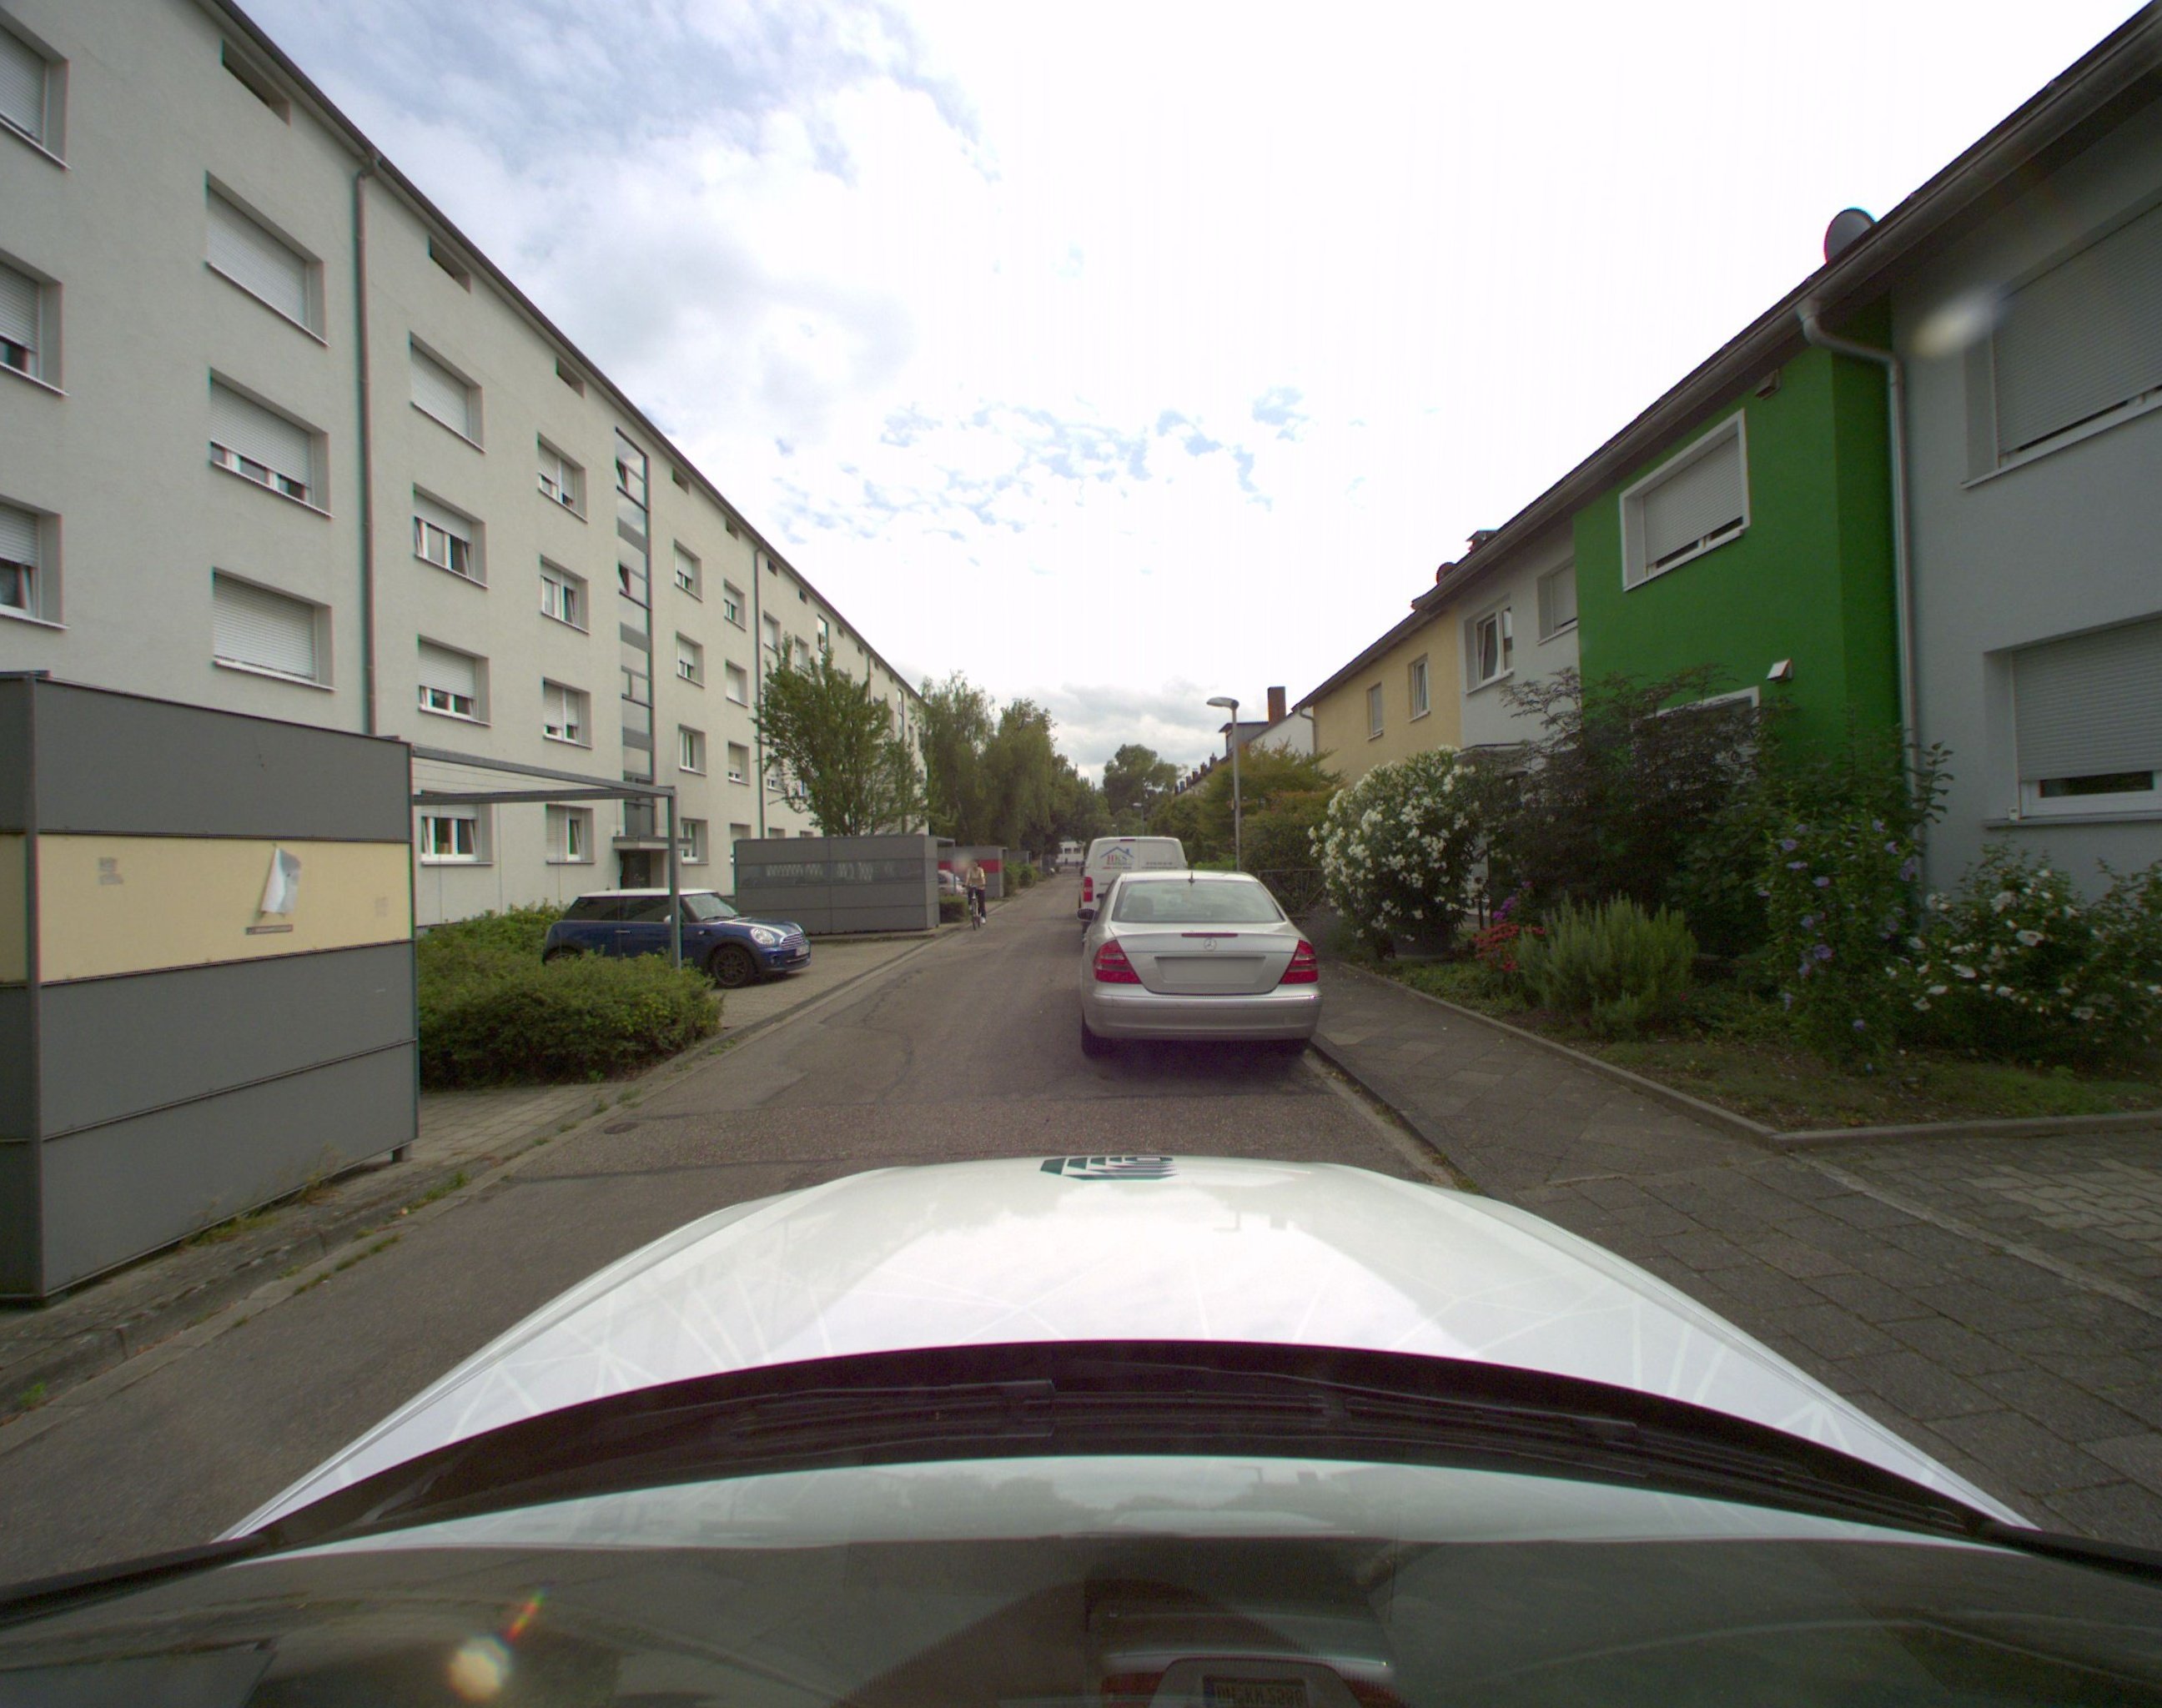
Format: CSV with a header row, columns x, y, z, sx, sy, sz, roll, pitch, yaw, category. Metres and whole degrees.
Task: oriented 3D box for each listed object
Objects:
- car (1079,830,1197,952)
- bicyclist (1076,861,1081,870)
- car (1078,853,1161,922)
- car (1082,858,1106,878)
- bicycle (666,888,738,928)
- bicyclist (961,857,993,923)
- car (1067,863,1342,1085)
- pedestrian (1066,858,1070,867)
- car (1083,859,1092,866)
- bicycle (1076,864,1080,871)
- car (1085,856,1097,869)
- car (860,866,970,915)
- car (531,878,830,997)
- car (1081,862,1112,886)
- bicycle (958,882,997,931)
x,y,z,sx,sy,sz,roll,pitch,yaw,category
0.924,0.629,15.920,1.898,1.964,5.252,-1,-1,0,car
-0.494,2.049,144.989,0.795,1.511,0.934,0,-1,2,bicyclist
0.915,0.818,21.596,1.820,1.636,4.158,-1,-1,-3,car
1.073,1.127,68.016,1.820,1.581,3.998,0,0,-1,car
-10.999,1.547,23.667,1.820,1.024,0.473,-2,-1,-41,bicycle
-2.600,0.887,20.361,0.595,1.581,0.767,-3,-1,1,bicyclist
0.879,0.809,7.554,1.777,1.421,4.457,-1,-1,2,car
-2.774,1.796,169.417,0.774,1.805,0.547,0,-1,-1,pedestrian
1.274,1.722,165.539,1.819,1.581,4.000,0,0,1,car
-0.506,2.366,145.001,0.686,1.131,2.580,0,-1,2,bicycle
1.508,1.271,124.584,1.819,1.883,4.000,0,0,1,car
-5.851,1.263,29.035,3.555,1.480,1.708,-3,0,-5,car
-5.897,1.204,12.270,3.619,1.461,1.654,-3,-1,3,car
0.935,1.191,49.235,1.819,1.370,4.331,0,0,1,car
-2.577,1.285,20.382,0.595,1.076,2.043,-3,-1,2,bicycle
